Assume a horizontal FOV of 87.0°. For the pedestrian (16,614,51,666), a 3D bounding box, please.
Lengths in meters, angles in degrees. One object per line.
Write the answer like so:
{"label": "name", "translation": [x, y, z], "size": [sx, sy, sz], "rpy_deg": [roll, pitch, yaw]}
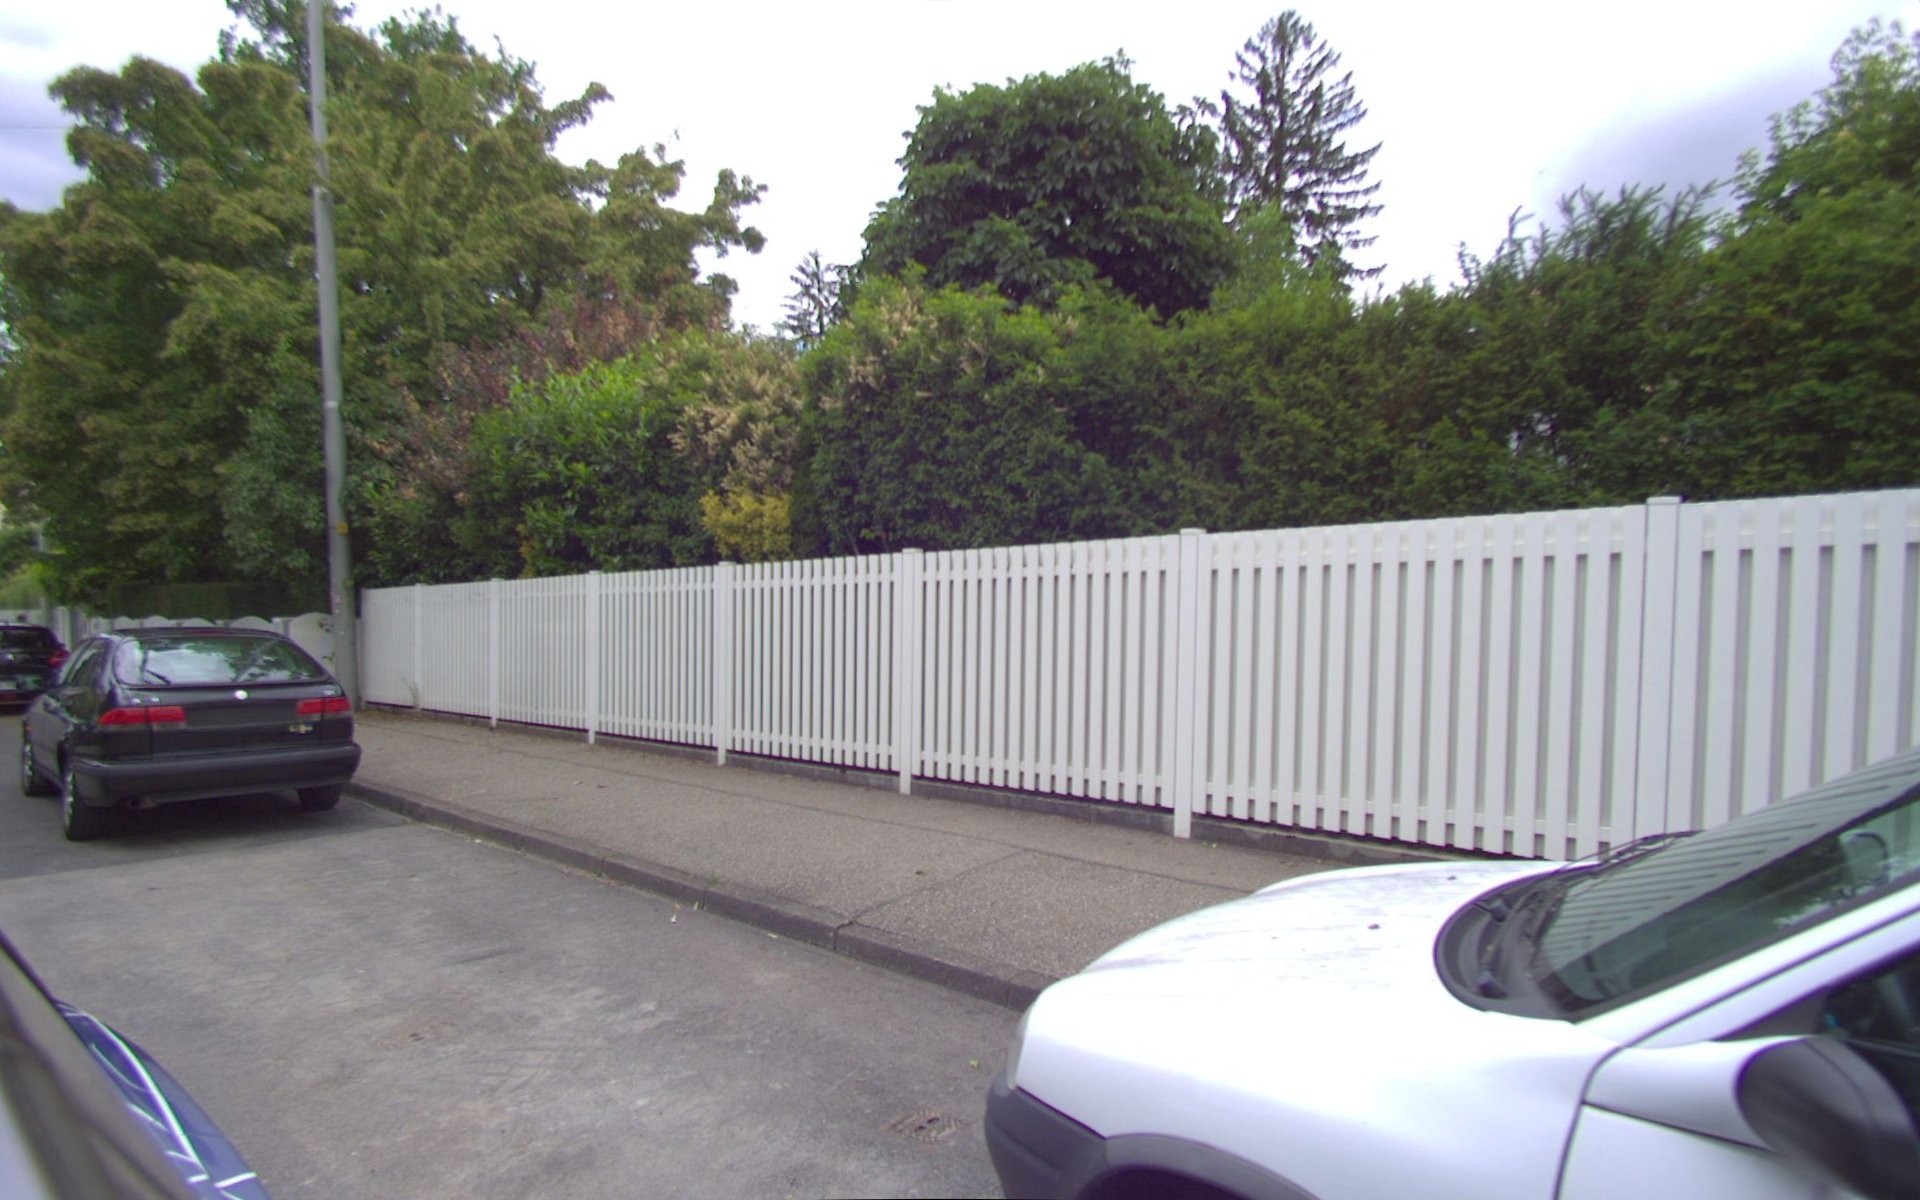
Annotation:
{"label": "pedestrian", "translation": [-29.501, 1.265, 32.229], "size": [0.797, 1.557, 0.602], "rpy_deg": [-1, 5, 41]}

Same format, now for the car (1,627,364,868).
{"label": "car", "translation": [-6.471, 0.938, 8.205], "size": [4.550, 1.433, 1.622], "rpy_deg": [-1, -3, 43]}

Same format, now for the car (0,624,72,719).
{"label": "car", "translation": [-16.439, 1.164, 17.145], "size": [3.887, 1.492, 1.637], "rpy_deg": [-2, -3, 42]}

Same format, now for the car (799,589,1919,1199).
{"label": "car", "translation": [1.684, 0.719, 1.238], "size": [3.999, 1.444, 1.578], "rpy_deg": [-1, -2, 42]}

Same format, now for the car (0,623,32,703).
{"label": "car", "translation": [-19.904, 1.240, 20.170], "size": [2.958, 1.545, 1.606], "rpy_deg": [-2, -2, 38]}
